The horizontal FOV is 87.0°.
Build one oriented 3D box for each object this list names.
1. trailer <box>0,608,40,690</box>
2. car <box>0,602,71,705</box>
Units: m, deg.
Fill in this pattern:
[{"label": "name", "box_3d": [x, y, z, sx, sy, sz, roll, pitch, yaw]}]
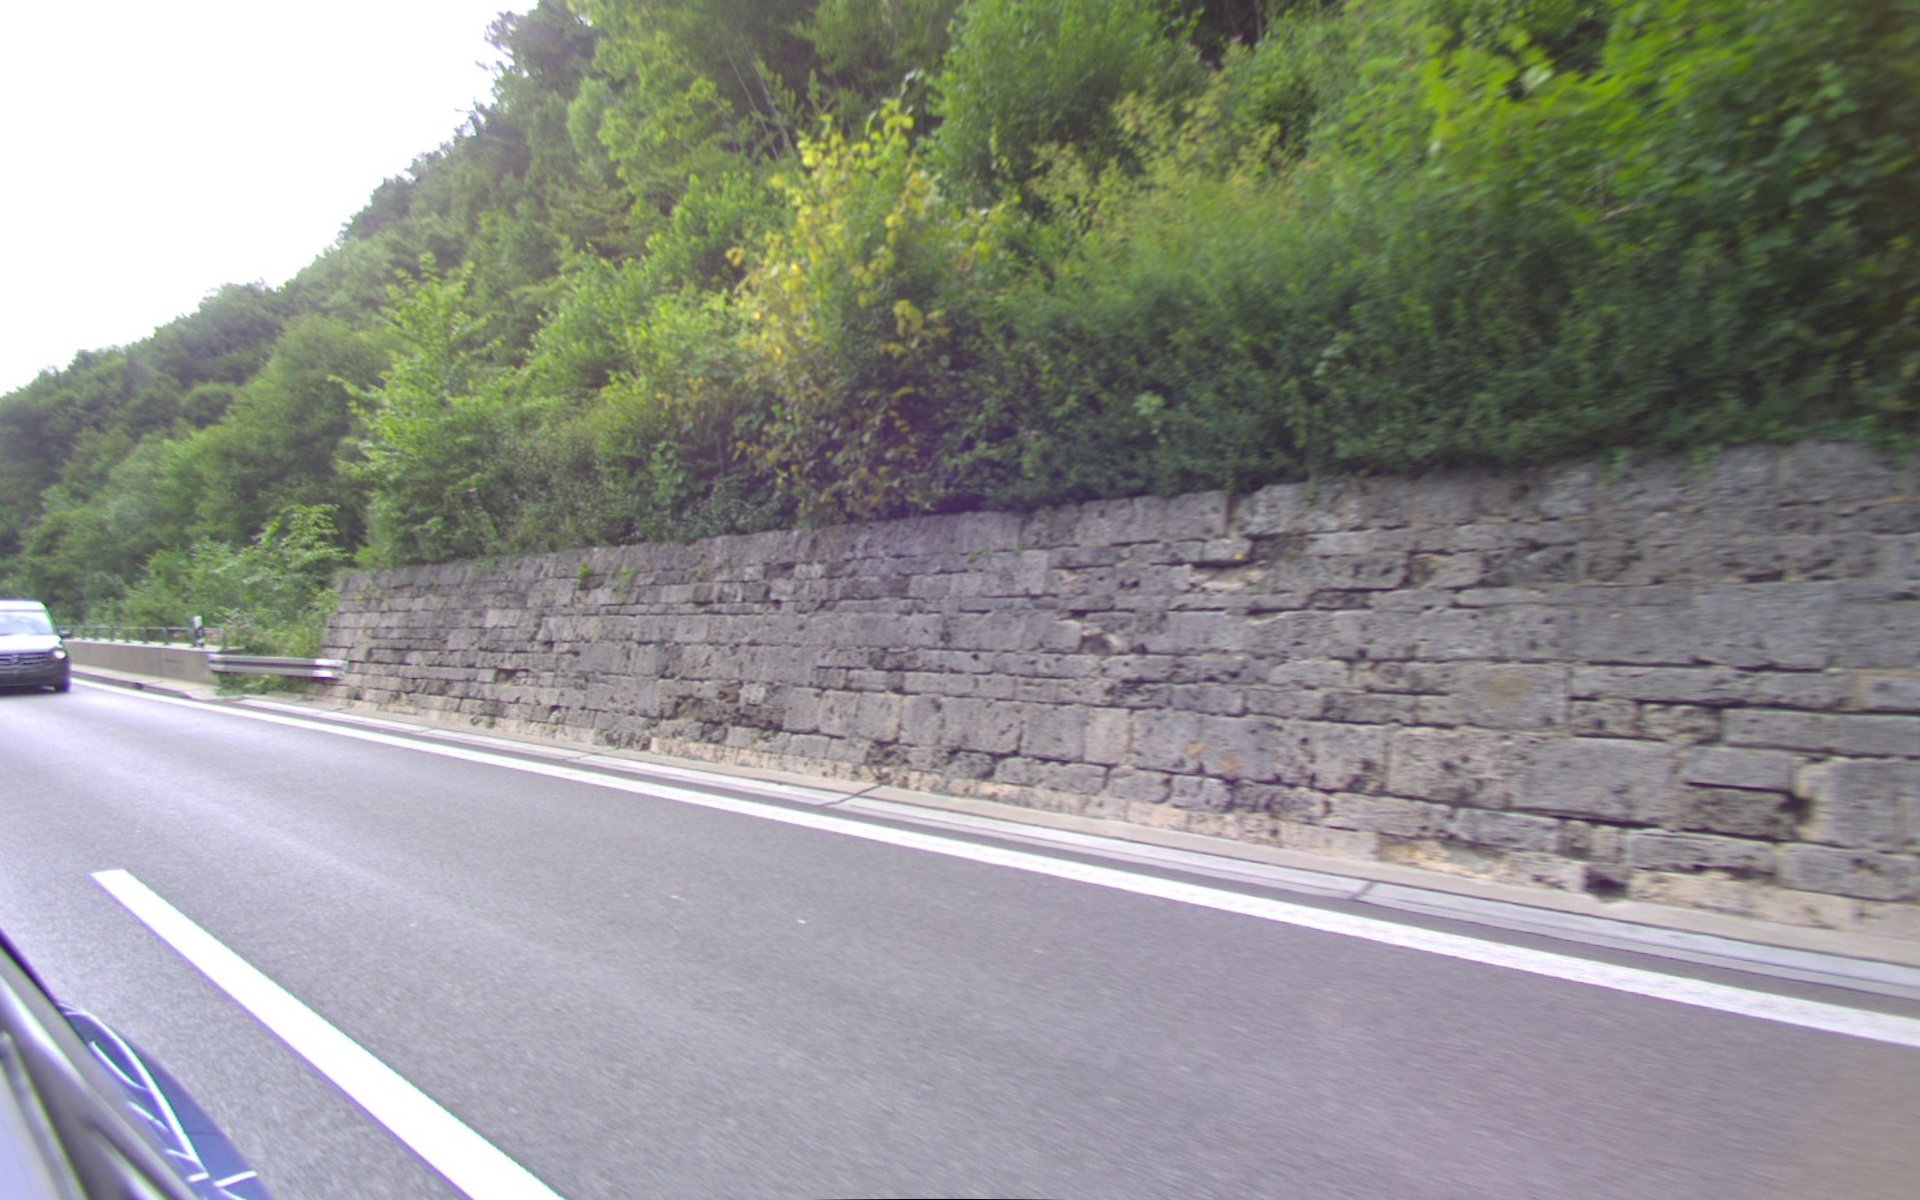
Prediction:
[{"label": "trailer", "box_3d": [-24.525, 1.238, 25.298, 3.430, 1.954, 1.949, -2, 0, 43]}, {"label": "car", "box_3d": [-21.258, 1.144, 22.241, 5.540, 2.029, 1.972, -2, 0, 43]}]
